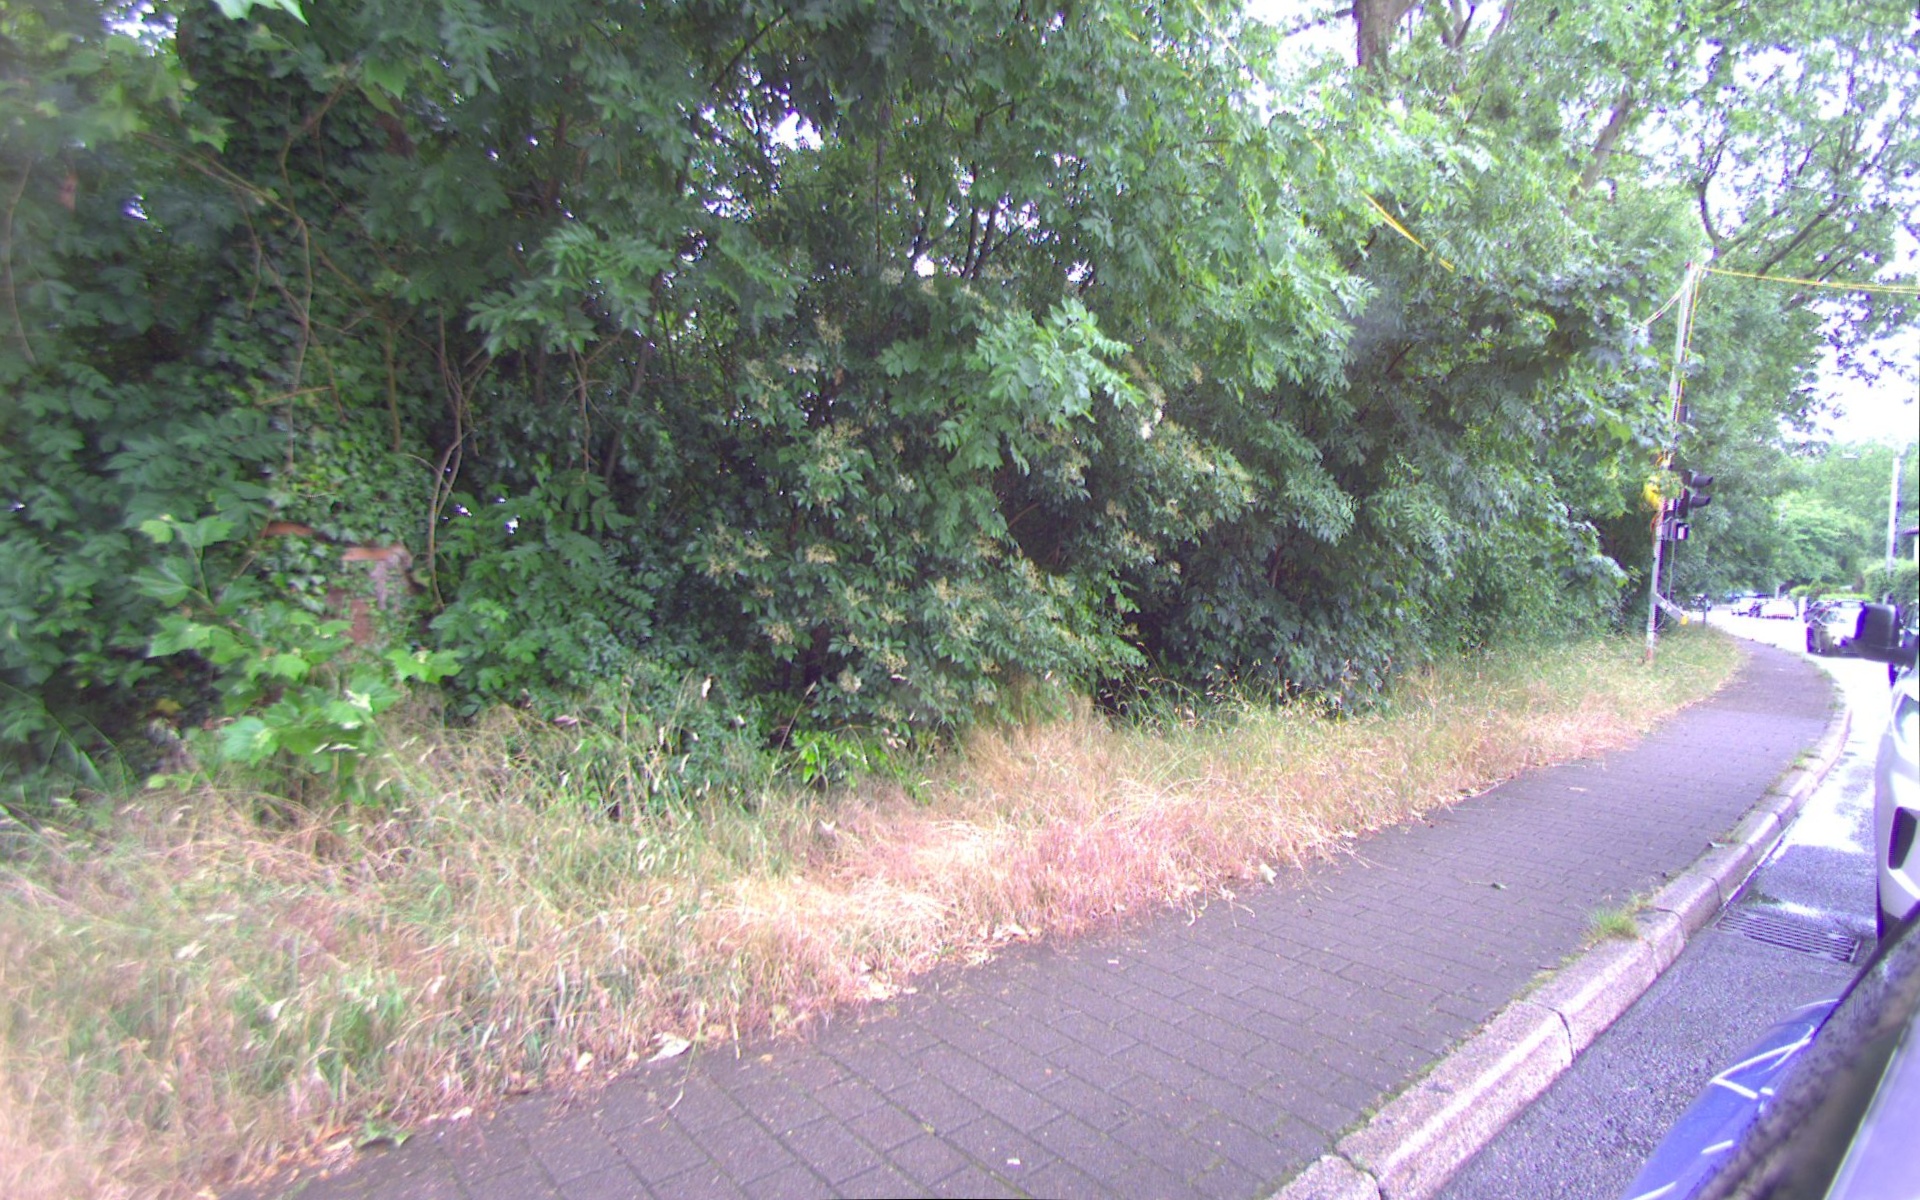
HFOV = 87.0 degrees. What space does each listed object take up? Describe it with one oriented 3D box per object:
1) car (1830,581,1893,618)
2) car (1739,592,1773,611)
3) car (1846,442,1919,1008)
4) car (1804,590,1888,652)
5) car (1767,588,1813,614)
[{"bbox_3d":[51.276,-0.063,57.620,1.984,2.039,3.955,0,0,32],"label":"car"},{"bbox_3d":[64.827,0.101,82.433,1.752,1.547,3.550,0,0,32],"label":"car"},{"bbox_3d":[5.716,0.400,4.464,5.118,1.917,2.044,-1,0,-41],"label":"car"},{"bbox_3d":[24.872,0.613,28.480,1.663,1.610,3.946,0,-2,40],"label":"car"},{"bbox_3d":[60.581,0.041,73.913,1.984,1.884,4.311,0,0,32],"label":"car"}]
